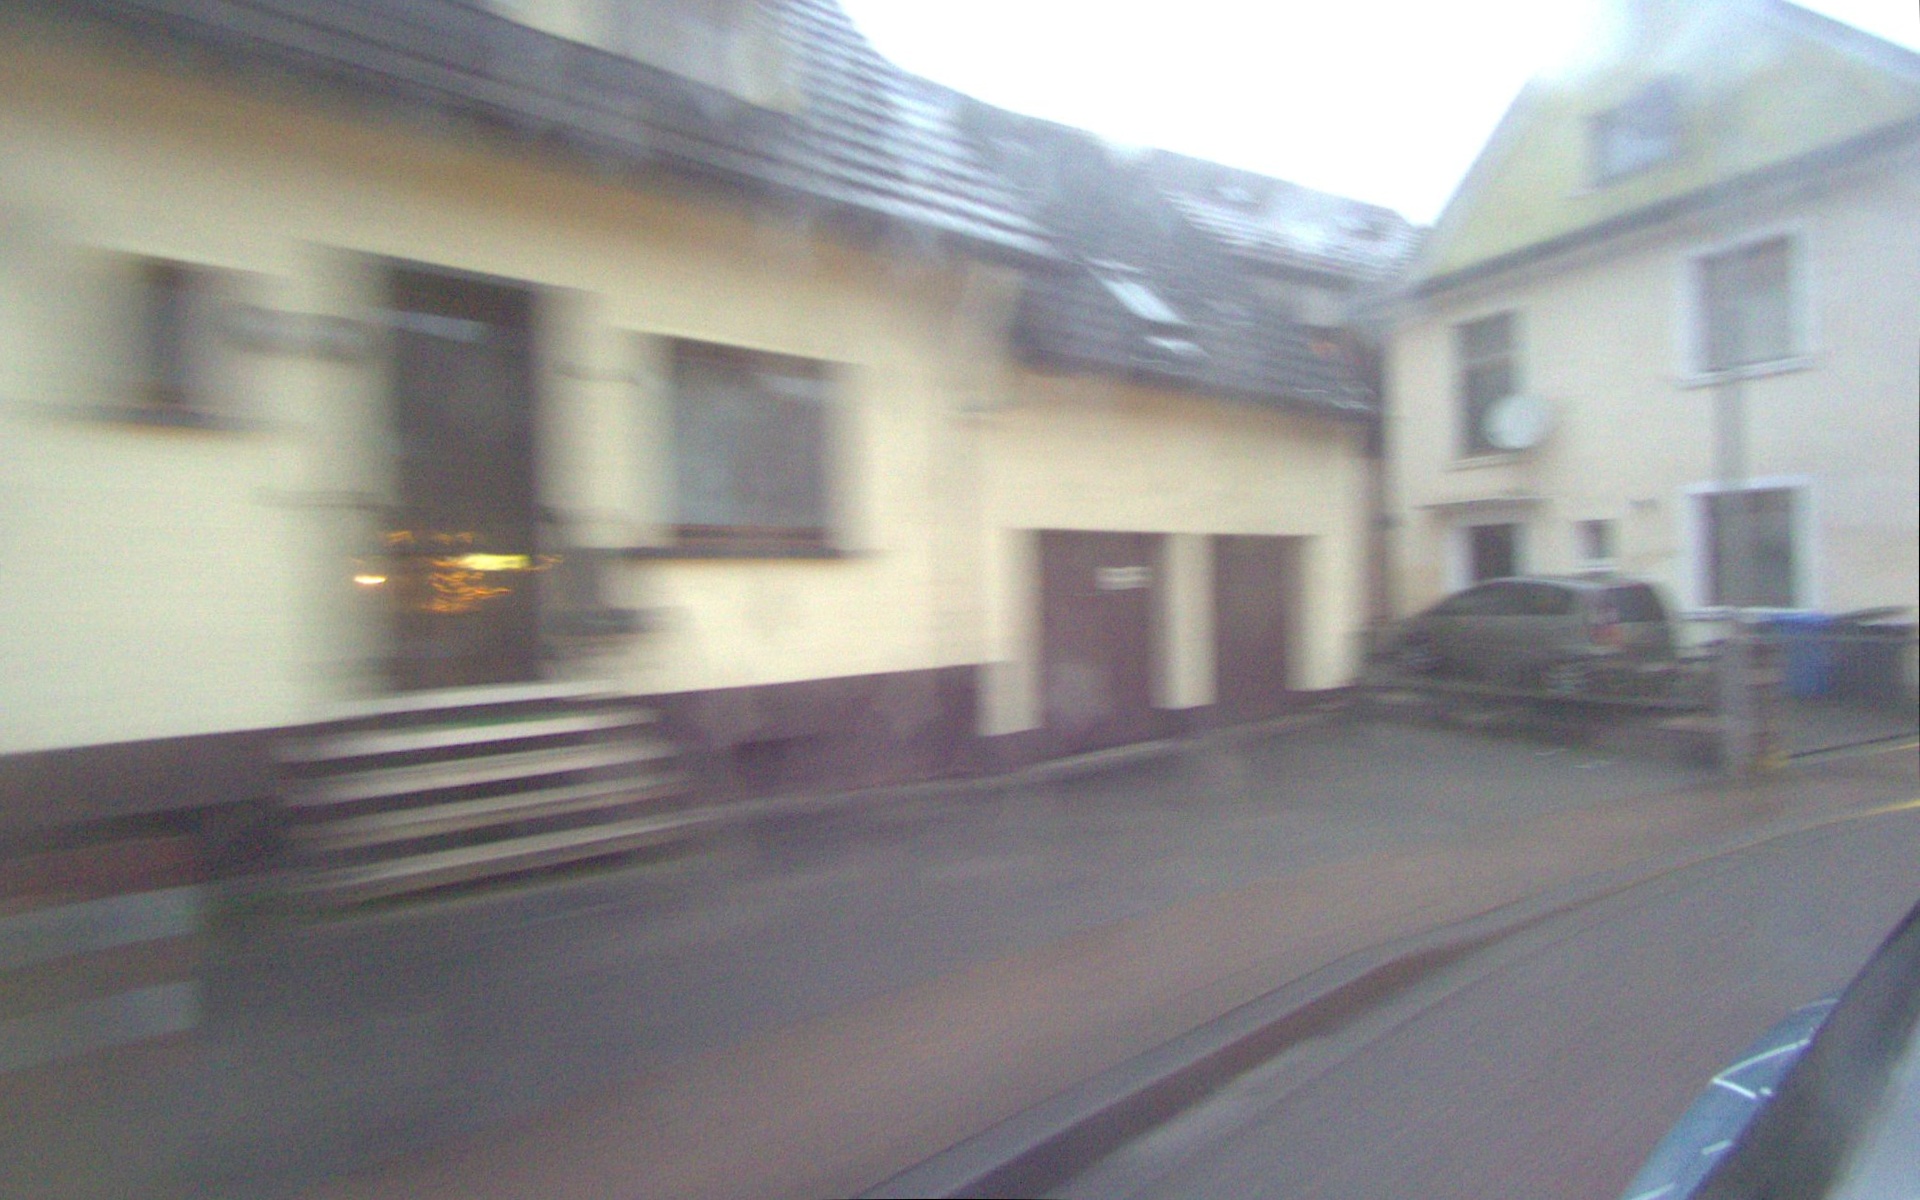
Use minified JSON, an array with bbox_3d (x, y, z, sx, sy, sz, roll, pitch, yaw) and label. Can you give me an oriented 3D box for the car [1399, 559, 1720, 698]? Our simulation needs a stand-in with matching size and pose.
[{"bbox_3d":[8.015,0.289,13.909,1.615,1.524,3.501,1,4,-19],"label":"car"}]
